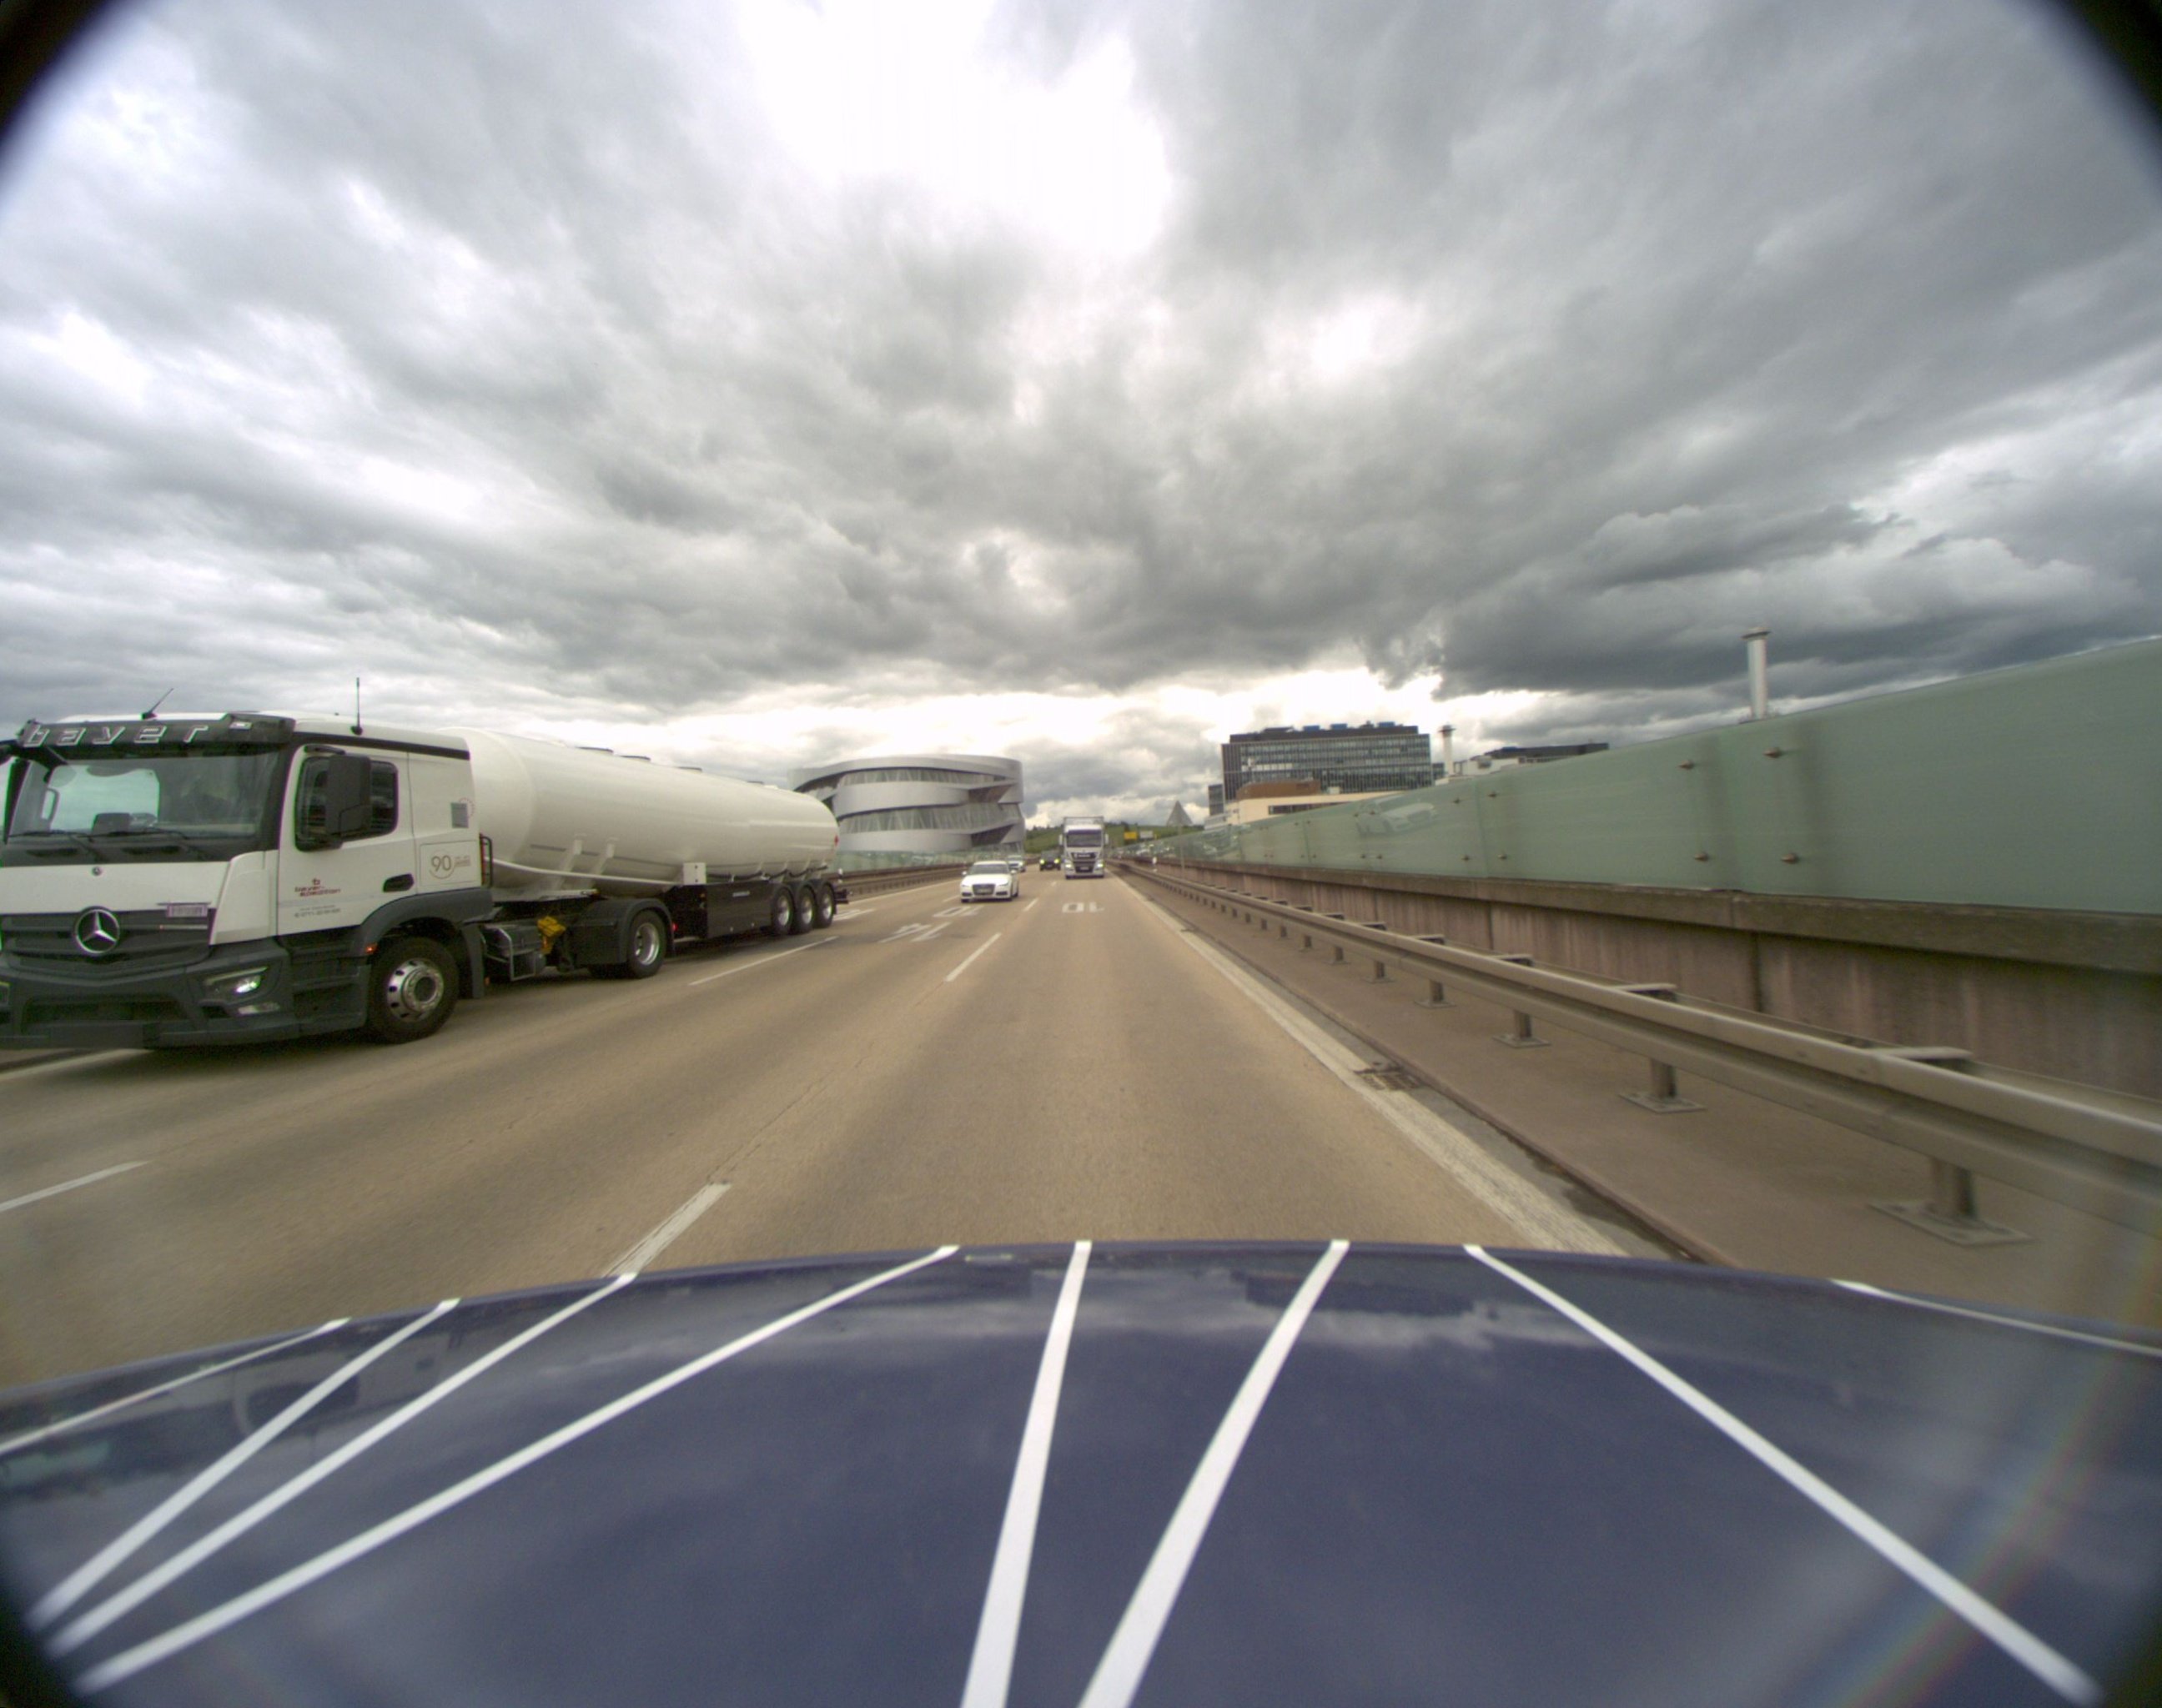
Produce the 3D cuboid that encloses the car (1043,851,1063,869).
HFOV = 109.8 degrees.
[{"bbox_3d":[-2.775,0.570,76.490,1.765,1.624,3.627,-2,1,1],"label":"car"}]

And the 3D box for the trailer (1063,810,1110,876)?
[{"bbox_3d":[0.485,-0.725,53.939,2.880,4.104,11.220,-2,1,1],"label":"trailer"}]

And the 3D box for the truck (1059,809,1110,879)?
[{"bbox_3d":[0.290,-0.611,48.954,2.946,4.136,6.291,-2,1,1],"label":"truck"}]

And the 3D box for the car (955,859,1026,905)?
[{"bbox_3d":[-3.200,0.959,27.637,1.848,1.443,3.933,-2,0,3],"label":"car"}]

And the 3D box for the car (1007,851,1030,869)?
[{"bbox_3d":[-5.997,0.535,72.849,1.785,1.624,3.627,-2,1,1],"label":"car"}]

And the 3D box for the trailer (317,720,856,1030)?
[{"bbox_3d":[-7.410,0.186,14.454,2.657,3.523,11.219,-2,1,1],"label":"trailer"}]

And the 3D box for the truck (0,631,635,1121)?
[{"bbox_3d":[-7.522,0.166,7.942,2.637,3.494,4.903,-2,1,1],"label":"truck"}]

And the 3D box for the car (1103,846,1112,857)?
[{"bbox_3d":[6.552,-0.673,187.900,2.144,2.494,4.524,-2,1,1],"label":"car"}]

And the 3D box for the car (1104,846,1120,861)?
[{"bbox_3d":[4.256,-0.143,105.575,1.998,2.002,3.999,-2,1,0],"label":"car"}]
